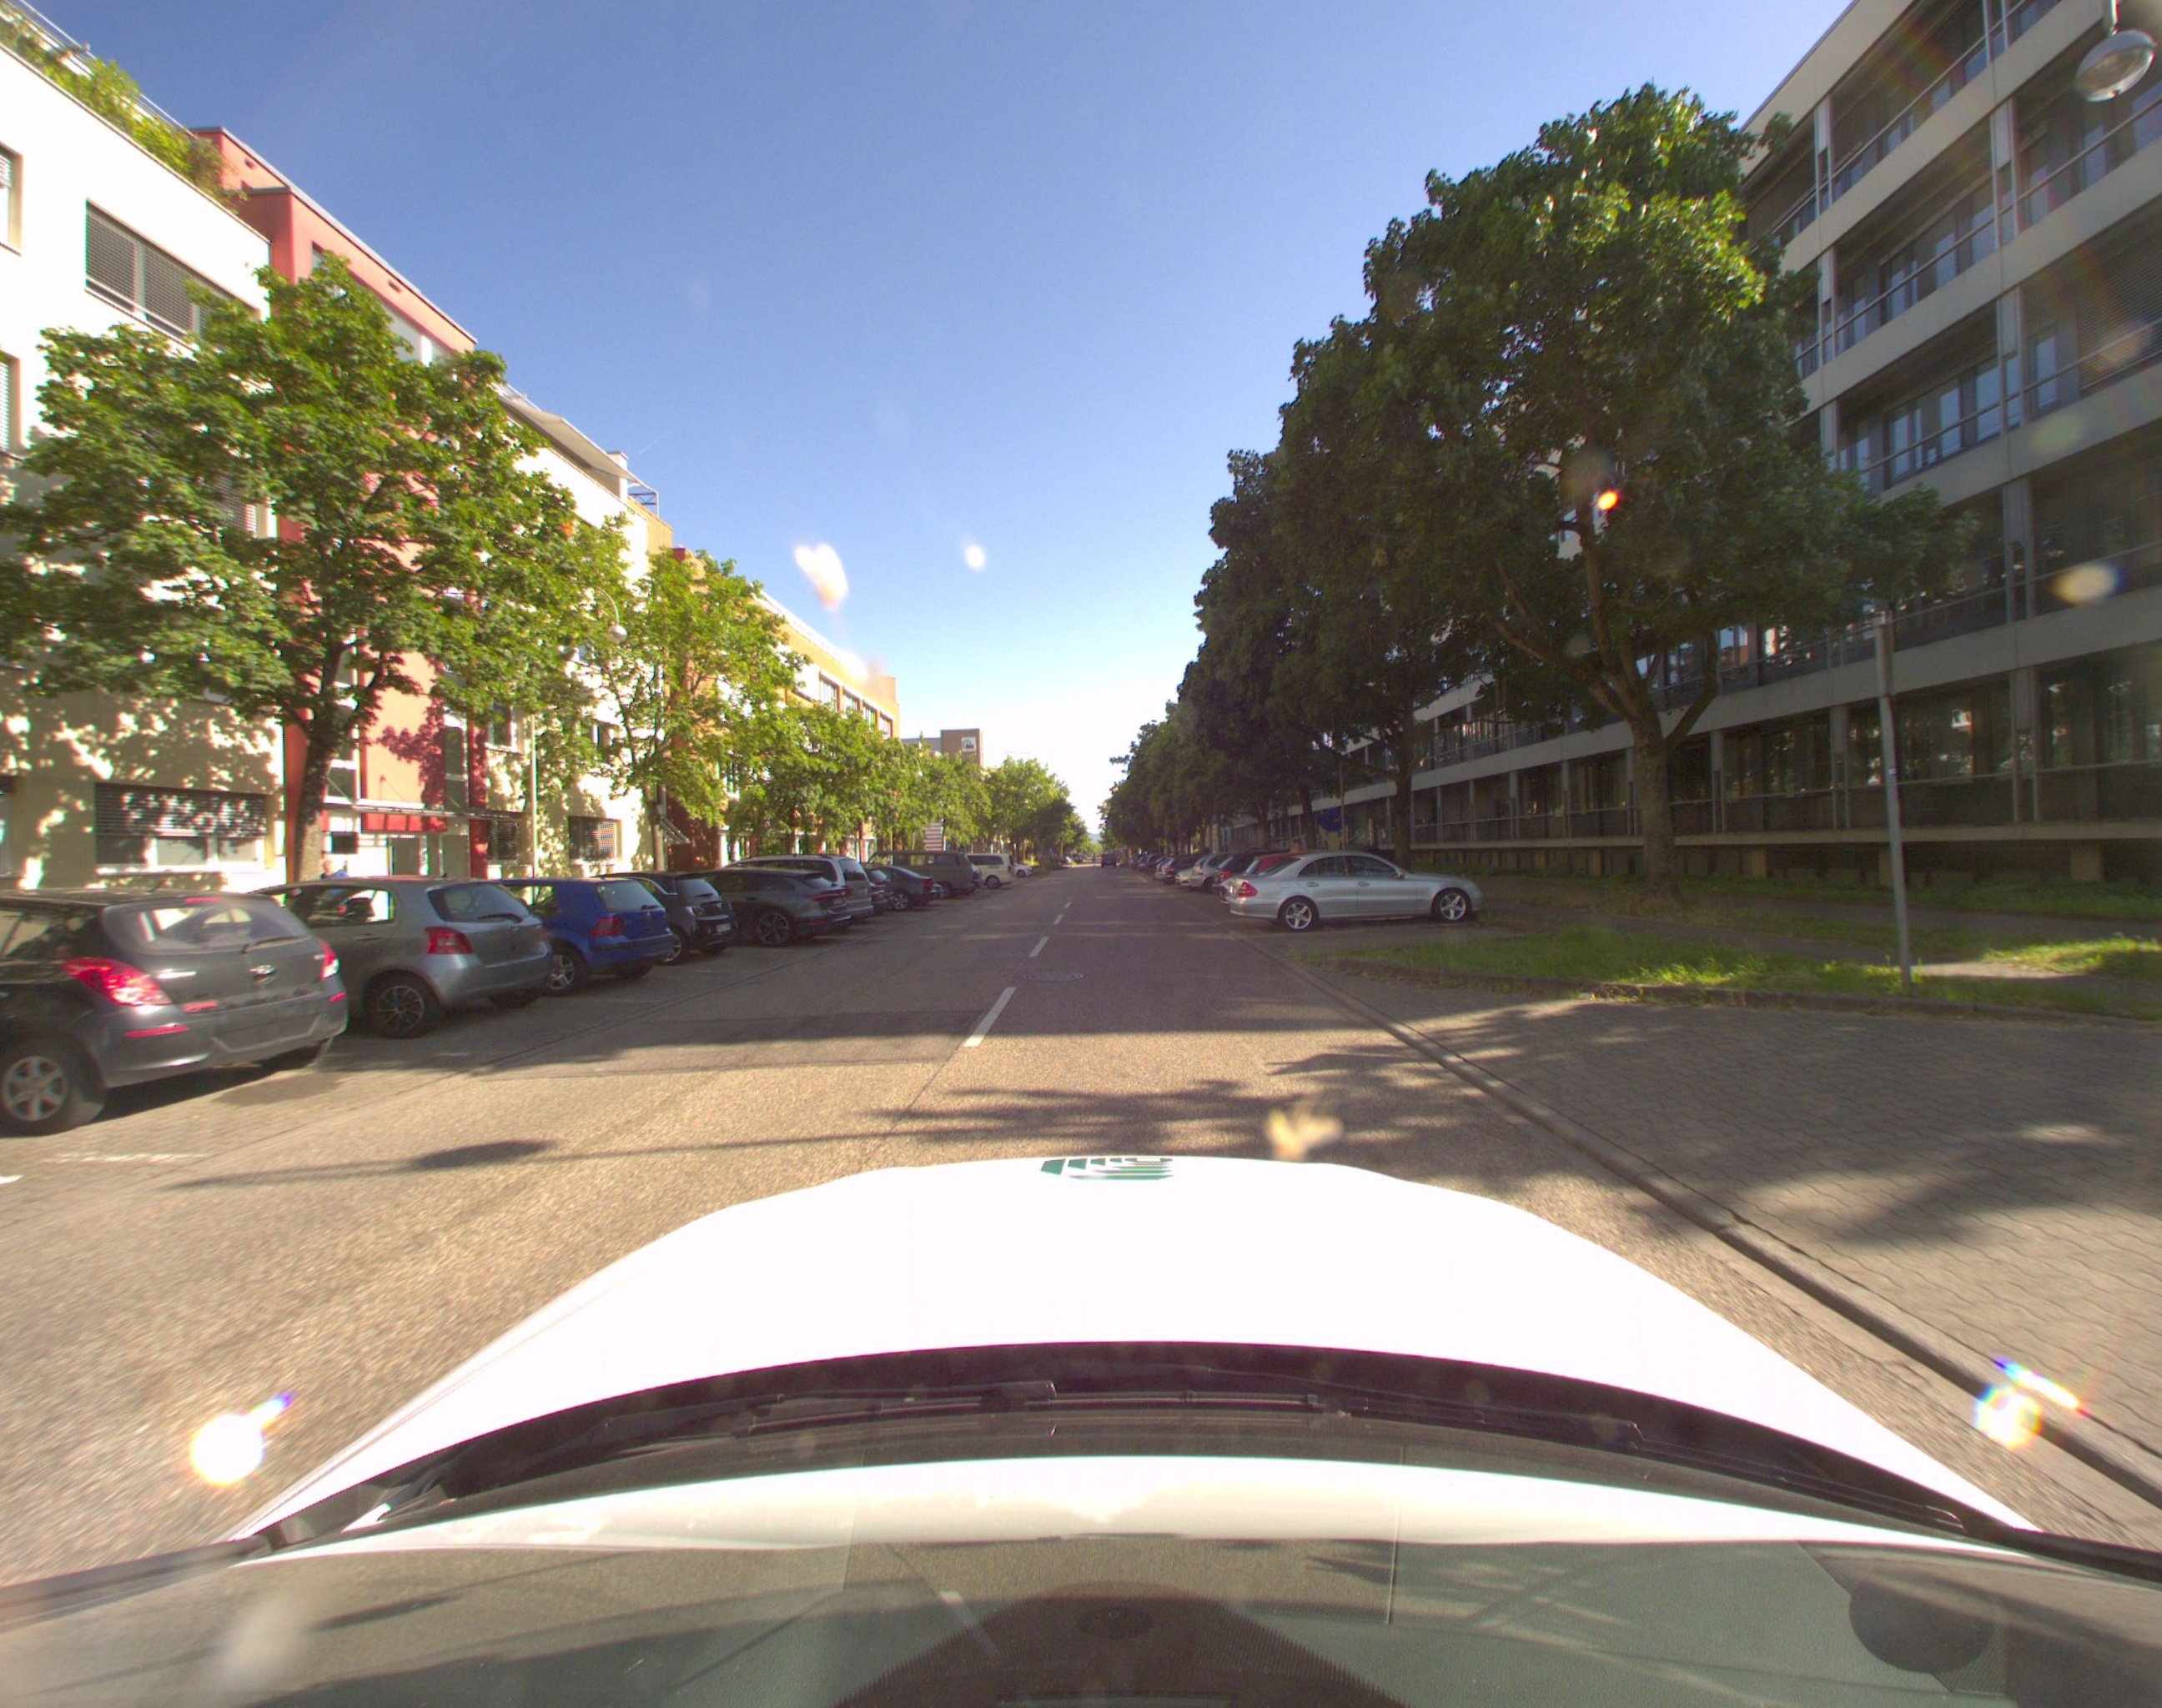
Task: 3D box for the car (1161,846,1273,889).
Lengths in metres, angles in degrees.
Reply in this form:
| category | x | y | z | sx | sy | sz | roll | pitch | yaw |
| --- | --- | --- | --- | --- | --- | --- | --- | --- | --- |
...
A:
| category | x | y | z | sx | sy | sz | roll | pitch | yaw |
| --- | --- | --- | --- | --- | --- | --- | --- | --- | --- |
| car | 5.907 | 0.575 | 35.801 | 4.575 | 1.493 | 1.763 | -4 | 0 | 1 |

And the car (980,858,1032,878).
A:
| category | x | y | z | sx | sy | sz | roll | pitch | yaw |
| --- | --- | --- | --- | --- | --- | --- | --- | --- | --- |
| car | -6.016 | 1.110 | 65.603 | 3.974 | 1.486 | 1.807 | -1 | 0 | 0 |

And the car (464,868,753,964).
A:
| category | x | y | z | sx | sy | sz | roll | pitch | yaw |
| --- | --- | --- | --- | --- | --- | --- | --- | --- | --- |
| car | -7.649 | 0.977 | 13.464 | 3.713 | 1.427 | 1.773 | 0 | 0 | 0 |

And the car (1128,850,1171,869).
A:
| category | x | y | z | sx | sy | sz | roll | pitch | yaw |
| --- | --- | --- | --- | --- | --- | --- | --- | --- | --- |
| car | 7.181 | 0.591 | 85.632 | 4.339 | 1.704 | 1.811 | -4 | 0 | -2 |

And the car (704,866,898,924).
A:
| category | x | y | z | sx | sy | sz | roll | pitch | yaw |
| --- | --- | --- | --- | --- | --- | --- | --- | --- | --- |
| car | -7.060 | 1.026 | 20.833 | 4.306 | 1.358 | 1.757 | 0 | 0 | 0 |

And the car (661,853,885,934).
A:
| category | x | y | z | sx | sy | sz | roll | pitch | yaw |
| --- | --- | --- | --- | --- | --- | --- | --- | --- | --- |
| car | -6.853 | 0.840 | 18.469 | 4.307 | 1.717 | 1.962 | 0 | 0 | 0 |

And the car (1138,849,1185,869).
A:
| category | x | y | z | sx | sy | sz | roll | pitch | yaw |
| --- | --- | --- | --- | --- | --- | --- | --- | --- | --- |
| car | 7.051 | 0.429 | 71.430 | 3.933 | 1.514 | 1.814 | -4 | 0 | 2 |

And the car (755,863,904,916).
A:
| category | x | y | z | sx | sy | sz | roll | pitch | yaw |
| --- | --- | --- | --- | --- | --- | --- | --- | --- | --- |
| car | -7.169 | 0.999 | 23.478 | 3.713 | 1.427 | 1.725 | 0 | 0 | 0 |

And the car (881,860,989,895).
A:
| category | x | y | z | sx | sy | sz | roll | pitch | yaw |
| --- | --- | --- | --- | --- | --- | --- | --- | --- | --- |
| car | -6.379 | 1.011 | 35.875 | 4.302 | 1.477 | 1.945 | 0 | 0 | 3 |

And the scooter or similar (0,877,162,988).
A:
| category | x | y | z | sx | sy | sz | roll | pitch | yaw |
| --- | --- | --- | --- | --- | --- | --- | --- | --- | --- |
| scooter or similar | -15.021 | 1.114 | 11.918 | 0.652 | 1.446 | 2.110 | -3 | 0 | 2 |

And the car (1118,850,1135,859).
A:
| category | x | y | z | sx | sy | sz | roll | pitch | yaw |
| --- | --- | --- | --- | --- | --- | --- | --- | --- | --- |
| car | 10.614 | 0.050 | 189.844 | 3.975 | 2.013 | 1.999 | -2 | 0 | -1 |

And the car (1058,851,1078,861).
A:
| category | x | y | z | sx | sy | sz | roll | pitch | yaw |
| --- | --- | --- | --- | --- | --- | --- | --- | --- | --- |
| car | -2.677 | 0.420 | 167.482 | 3.967 | 2.013 | 2.003 | -2 | 0 | 5 |

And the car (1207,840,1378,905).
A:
| category | x | y | z | sx | sy | sz | roll | pitch | yaw |
| --- | --- | --- | --- | --- | --- | --- | --- | --- | --- |
| car | 6.045 | 0.518 | 23.740 | 4.494 | 1.542 | 1.924 | -4 | 0 | 4 |

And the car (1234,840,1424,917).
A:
| category | x | y | z | sx | sy | sz | roll | pitch | yaw |
| --- | --- | --- | --- | --- | --- | --- | --- | --- | --- |
| car | 5.573 | 0.545 | 18.729 | 3.819 | 1.447 | 1.925 | -4 | 0 | 5 |

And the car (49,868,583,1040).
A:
| category | x | y | z | sx | sy | sz | roll | pitch | yaw |
| --- | --- | --- | --- | --- | --- | --- | --- | --- | --- |
| car | -7.576 | 0.932 | 8.387 | 3.713 | 1.508 | 1.860 | 0 | 0 | 0 |

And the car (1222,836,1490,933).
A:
| category | x | y | z | sx | sy | sz | roll | pitch | yaw |
| --- | --- | --- | --- | --- | --- | --- | --- | --- | --- |
| car | 5.183 | 0.562 | 15.796 | 4.560 | 1.475 | 1.748 | -4 | 0 | 2 |

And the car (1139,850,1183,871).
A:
| category | x | y | z | sx | sy | sz | roll | pitch | yaw |
| --- | --- | --- | --- | --- | --- | --- | --- | --- | --- |
| car | 6.753 | 0.536 | 68.947 | 3.626 | 1.514 | 1.814 | -4 | 0 | 3 |

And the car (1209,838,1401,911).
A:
| category | x | y | z | sx | sy | sz | roll | pitch | yaw |
| --- | --- | --- | --- | --- | --- | --- | --- | --- | --- |
| car | 5.708 | 0.523 | 21.261 | 4.493 | 1.542 | 1.925 | -4 | 0 | 5 |

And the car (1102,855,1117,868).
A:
| category | x | y | z | sx | sy | sz | roll | pitch | yaw |
| --- | --- | --- | --- | --- | --- | --- | --- | --- | --- |
| car | 3.724 | 0.987 | 106.937 | 1.986 | 1.640 | 4.001 | 0 | 0 | 1 |

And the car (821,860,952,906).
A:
| category | x | y | z | sx | sy | sz | roll | pitch | yaw |
| --- | --- | --- | --- | --- | --- | --- | --- | --- | --- |
| car | -6.741 | 0.976 | 28.479 | 4.117 | 1.528 | 1.726 | 0 | 0 | 1 |

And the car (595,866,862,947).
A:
| category | x | y | z | sx | sy | sz | roll | pitch | yaw |
| --- | --- | --- | --- | --- | --- | --- | --- | --- | --- |
| car | -6.710 | 0.980 | 15.854 | 4.389 | 1.427 | 1.772 | 0 | 0 | -1 |

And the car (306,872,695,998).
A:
| category | x | y | z | sx | sy | sz | roll | pitch | yaw |
| --- | --- | --- | --- | --- | --- | --- | --- | --- | --- |
| car | -7.325 | 0.980 | 10.586 | 3.713 | 1.427 | 1.841 | 0 | 0 | 0 |

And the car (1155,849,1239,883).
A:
| category | x | y | z | sx | sy | sz | roll | pitch | yaw |
| --- | --- | --- | --- | --- | --- | --- | --- | --- | --- |
| car | 5.813 | 0.610 | 41.062 | 3.957 | 1.420 | 1.710 | -4 | 0 | -1 |

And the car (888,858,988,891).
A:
| category | x | y | z | sx | sy | sz | roll | pitch | yaw |
| --- | --- | --- | --- | --- | --- | --- | --- | --- | --- |
| car | -6.748 | 0.940 | 38.609 | 4.302 | 1.477 | 1.945 | 0 | 0 | 3 |

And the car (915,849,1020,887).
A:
| category | x | y | z | sx | sy | sz | roll | pitch | yaw |
| --- | --- | --- | --- | --- | --- | --- | --- | --- | --- |
| car | -5.976 | 0.726 | 43.164 | 5.239 | 1.967 | 1.943 | 0 | 0 | 1 |

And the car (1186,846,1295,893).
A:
| category | x | y | z | sx | sy | sz | roll | pitch | yaw |
| --- | --- | --- | --- | --- | --- | --- | --- | --- | --- |
| car | 5.972 | 0.566 | 30.723 | 3.733 | 1.493 | 1.616 | -4 | 0 | -2 |

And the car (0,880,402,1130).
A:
| category | x | y | z | sx | sy | sz | roll | pitch | yaw |
| --- | --- | --- | --- | --- | --- | --- | --- | --- | --- |
| car | -7.531 | 0.952 | 5.817 | 3.717 | 1.447 | 1.858 | 0 | 0 | -2 |

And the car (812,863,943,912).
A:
| category | x | y | z | sx | sy | sz | roll | pitch | yaw |
| --- | --- | --- | --- | --- | --- | --- | --- | --- | --- |
| car | -6.340 | 1.016 | 25.691 | 3.719 | 1.427 | 1.722 | 0 | 0 | -5 |

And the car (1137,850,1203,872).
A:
| category | x | y | z | sx | sy | sz | roll | pitch | yaw |
| --- | --- | --- | --- | --- | --- | --- | --- | --- | --- |
| car | 6.813 | 0.530 | 62.893 | 4.810 | 1.420 | 2.031 | -4 | 0 | -1 |

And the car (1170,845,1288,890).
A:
| category | x | y | z | sx | sy | sz | roll | pitch | yaw |
| --- | --- | --- | --- | --- | --- | --- | --- | --- | --- |
| car | 5.952 | 0.542 | 33.089 | 4.277 | 1.493 | 2.001 | -4 | 0 | -4 |

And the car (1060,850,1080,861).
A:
| category | x | y | z | sx | sy | sz | roll | pitch | yaw |
| --- | --- | --- | --- | --- | --- | --- | --- | --- | --- |
| car | -2.326 | 0.283 | 170.886 | 3.967 | 2.013 | 2.003 | -2 | 0 | 5 |

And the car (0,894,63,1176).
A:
| category | x | y | z | sx | sy | sz | roll | pitch | yaw |
| --- | --- | --- | --- | --- | --- | --- | --- | --- | --- |
| car | -7.429 | 0.955 | 3.453 | 3.717 | 1.447 | 1.875 | 0 | 0 | -2 |

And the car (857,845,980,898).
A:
| category | x | y | z | sx | sy | sz | roll | pitch | yaw |
| --- | --- | --- | --- | --- | --- | --- | --- | --- | --- |
| car | -6.555 | 0.686 | 33.194 | 4.469 | 2.090 | 2.085 | 0 | 0 | 3 |

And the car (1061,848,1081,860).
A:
| category | x | y | z | sx | sy | sz | roll | pitch | yaw |
| --- | --- | --- | --- | --- | --- | --- | --- | --- | --- |
| car | -2.089 | 0.069 | 175.322 | 3.967 | 2.541 | 1.866 | -1 | 0 | 6 |
